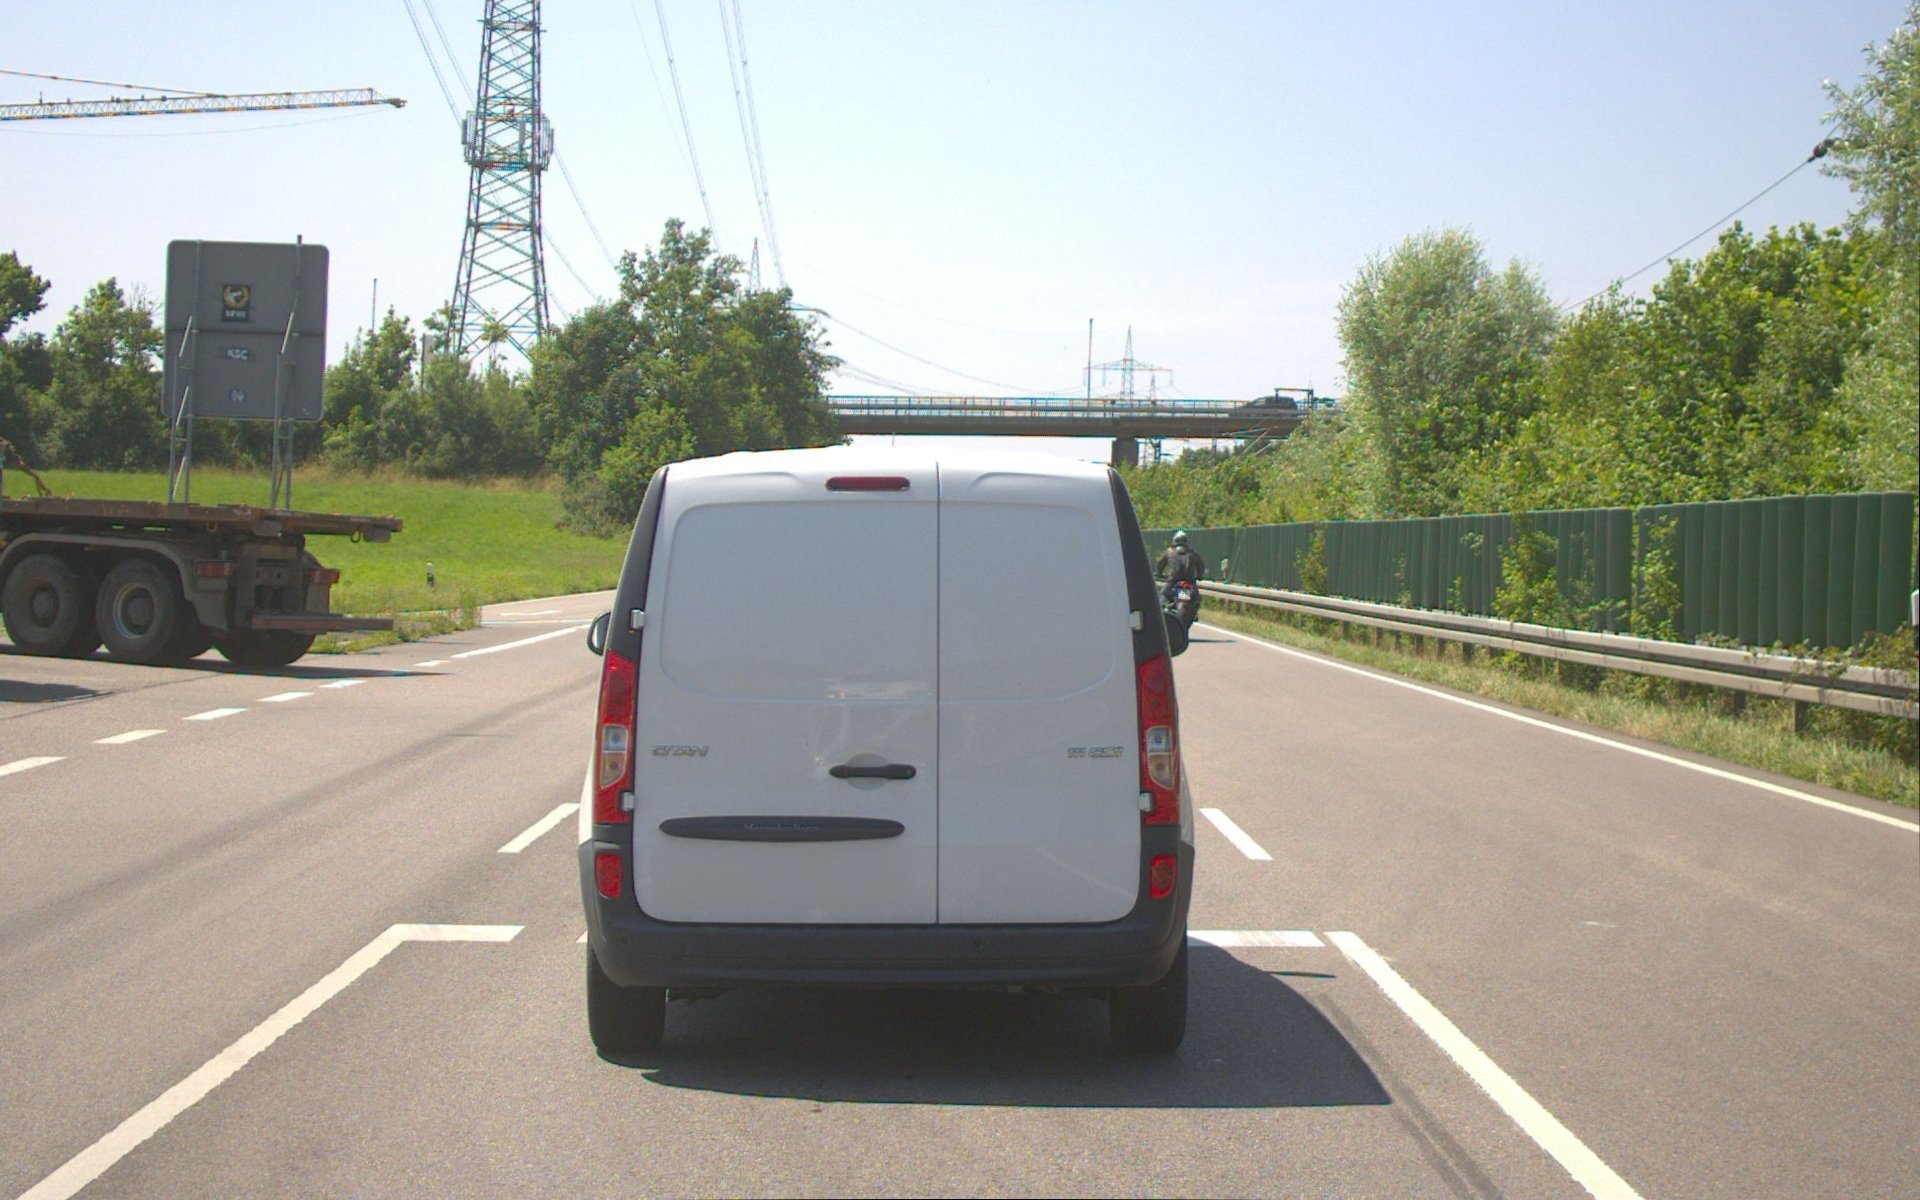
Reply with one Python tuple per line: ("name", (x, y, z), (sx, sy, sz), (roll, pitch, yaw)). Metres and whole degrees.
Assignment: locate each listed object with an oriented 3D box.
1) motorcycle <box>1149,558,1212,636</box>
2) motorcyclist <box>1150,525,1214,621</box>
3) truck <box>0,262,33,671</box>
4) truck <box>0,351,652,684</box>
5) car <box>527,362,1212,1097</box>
("motorcycle", (3.455, -0.056, 53.898), (0.790, 1.153, 1.901), (1, 1, -1))
("motorcyclist", (3.460, -0.432, 53.672), (0.889, 1.471, 1.002), (1, 1, -1))
("truck", (-12.739, -1.425, 30.992), (7.905, 3.721, 2.498), (3, 1, 2))
("truck", (-8.260, -0.994, 37.368), (9.683, 3.277, 2.826), (2, 2, 26))
("car", (-0.265, 0.313, 11.274), (1.827, 1.964, 4.000), (1, 1, -1))
